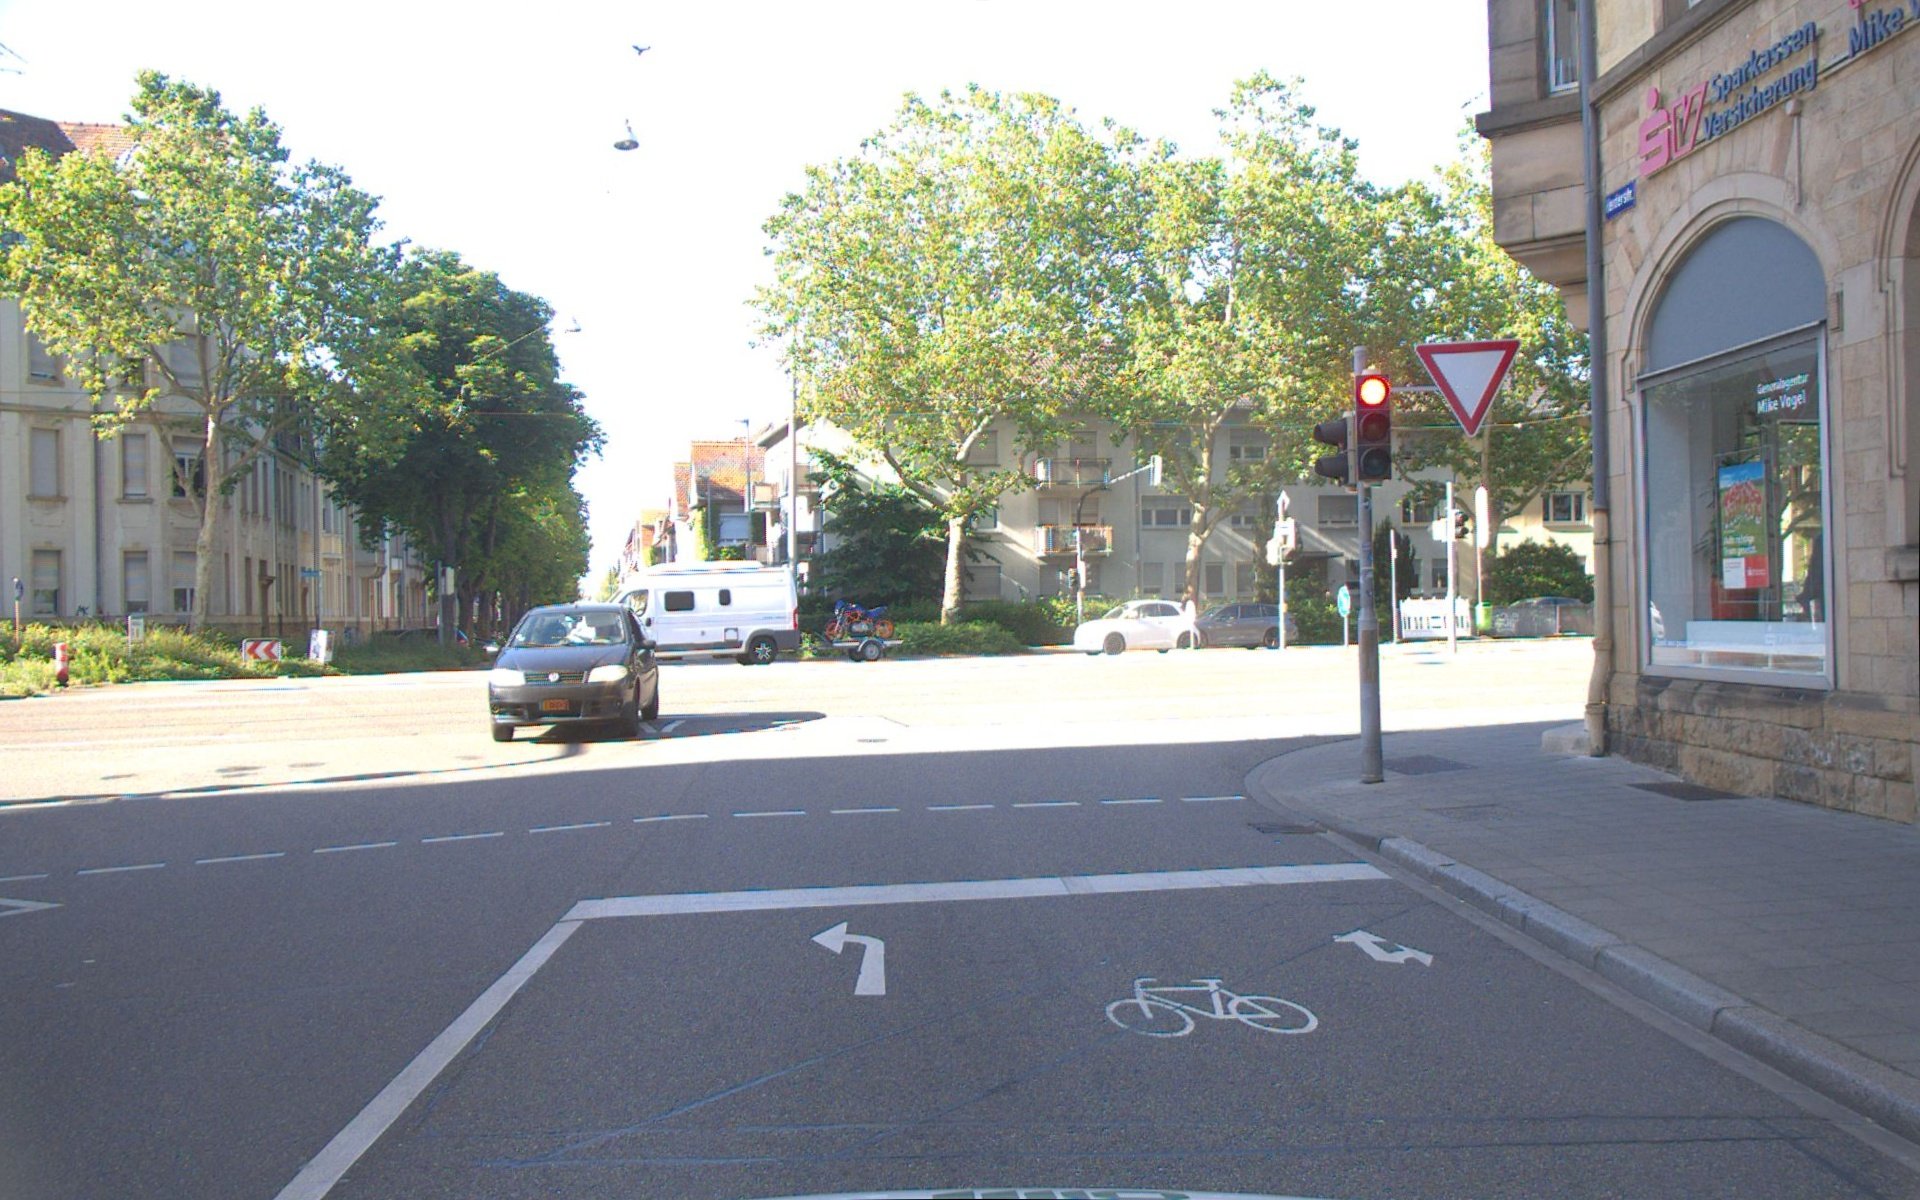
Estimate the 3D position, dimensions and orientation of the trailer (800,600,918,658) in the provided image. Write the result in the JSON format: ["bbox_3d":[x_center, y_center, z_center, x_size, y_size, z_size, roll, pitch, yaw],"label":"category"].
[{"bbox_3d":[-2.738,0.775,44.706,2.904,1.483,1.505,-1,0,-20],"label":"trailer"}]

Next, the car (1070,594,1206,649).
[{"bbox_3d":[5.085,0.599,47.193,3.579,1.483,1.494,-1,0,-21],"label":"car"}]

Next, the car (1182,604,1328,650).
[{"bbox_3d":[9.332,0.832,52.265,4.323,1.339,1.636,-1,0,-21],"label":"car"}]

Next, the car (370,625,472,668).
[{"bbox_3d":[-20.441,1.744,62.815,3.572,1.483,1.650,-1,0,-16],"label":"car"}]

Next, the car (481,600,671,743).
[{"bbox_3d":[-4.364,0.752,19.266,1.620,1.483,3.639,-1,0,-5],"label":"car"}]

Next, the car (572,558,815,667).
[{"bbox_3d":[-6.932,0.285,43.077,6.017,2.683,1.885,-1,0,-20],"label":"car"}]

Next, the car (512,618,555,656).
[{"bbox_3d":[-19.098,1.638,74.129,1.669,1.509,3.523,-3,1,-12],"label":"car"}]

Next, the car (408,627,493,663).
[{"bbox_3d":[-22.712,1.992,73.836,3.572,1.483,1.650,-1,0,-16],"label":"car"}]
